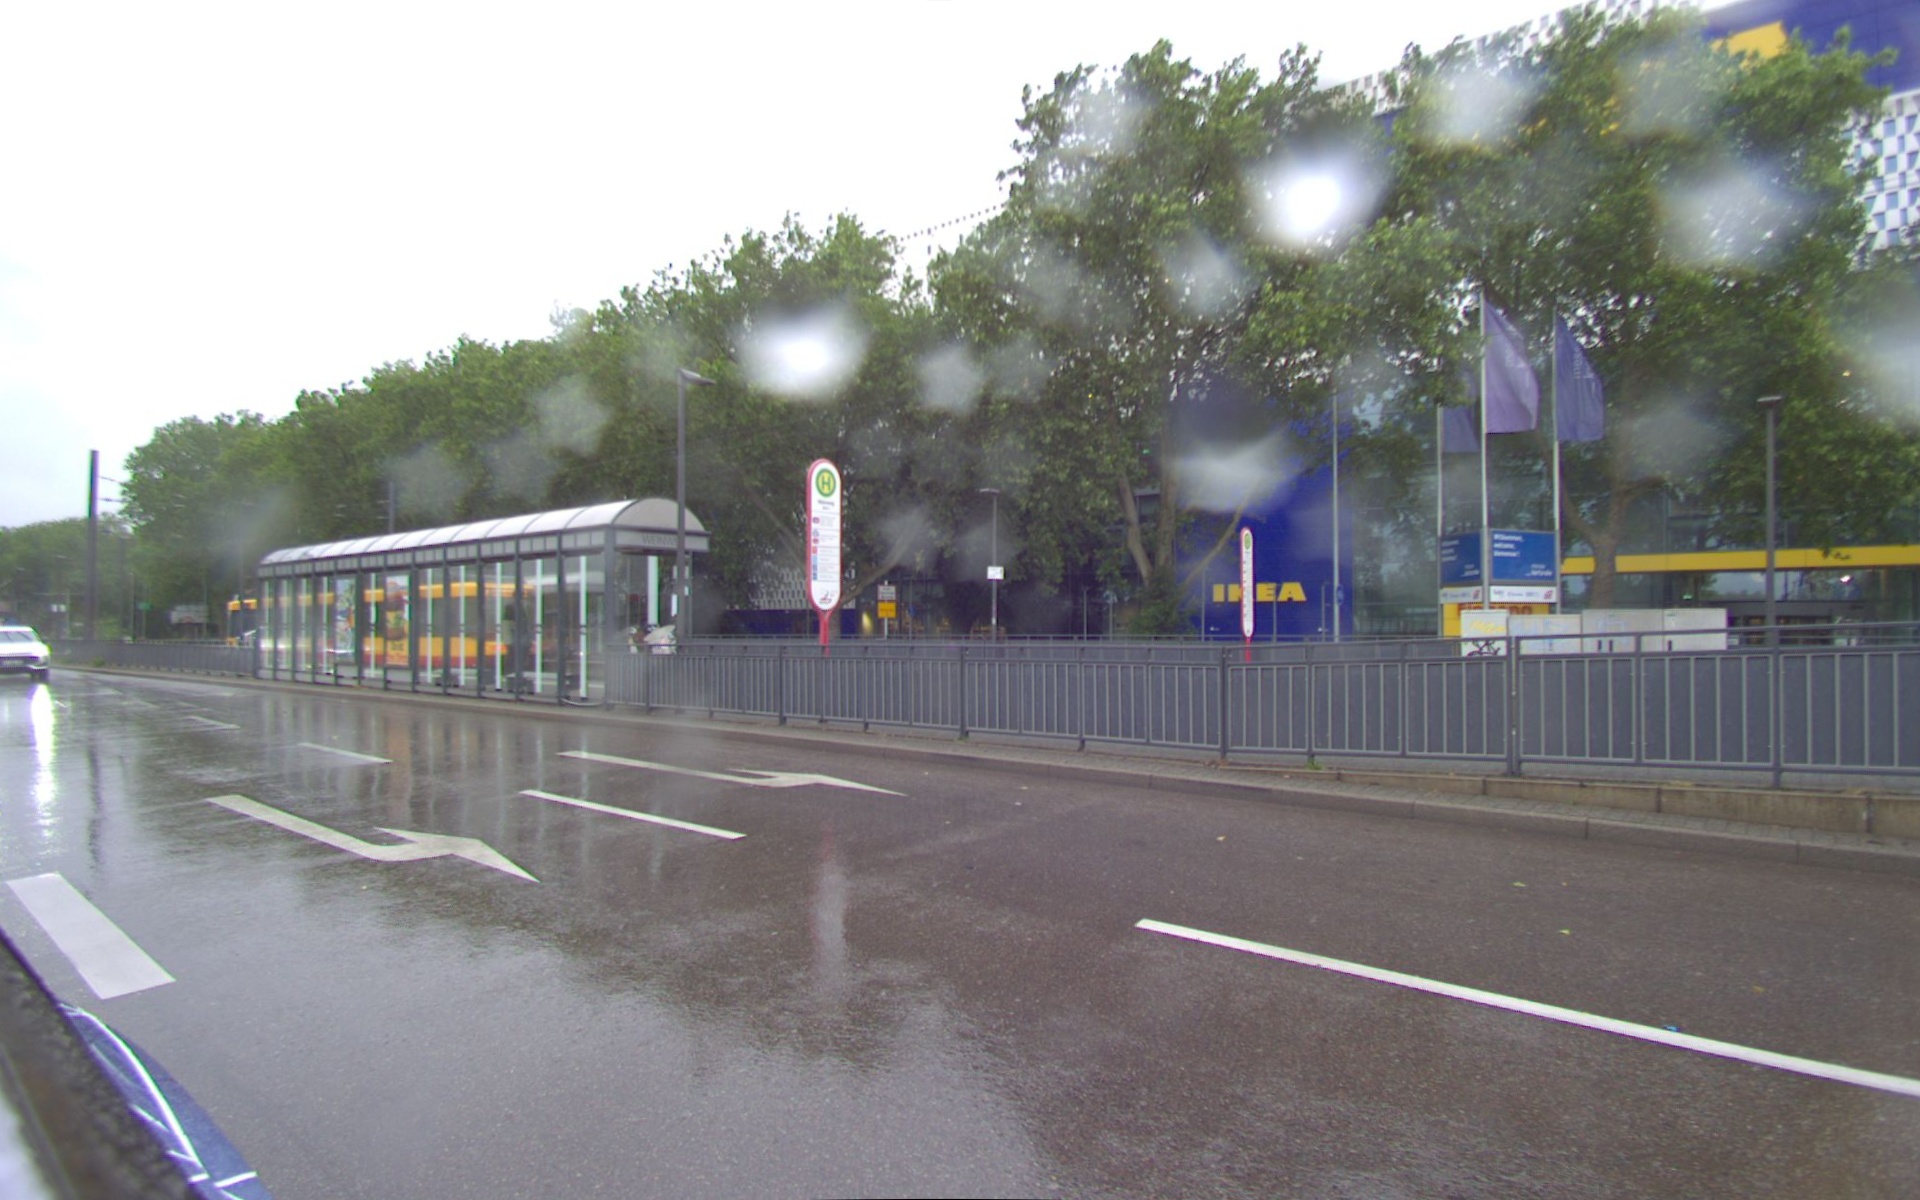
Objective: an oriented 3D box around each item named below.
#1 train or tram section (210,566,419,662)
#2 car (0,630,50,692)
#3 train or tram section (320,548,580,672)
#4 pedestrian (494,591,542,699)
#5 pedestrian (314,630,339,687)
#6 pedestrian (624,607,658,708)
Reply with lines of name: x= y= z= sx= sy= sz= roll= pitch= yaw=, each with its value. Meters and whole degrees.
train or tram section: x=-30.179 y=0.640 z=46.723 sx=15.560 sy=3.827 sz=3.703 roll=-1 pitch=0 yaw=40
car: x=-30.177 y=1.863 z=31.735 sx=4.661 sy=1.788 sz=1.910 roll=-1 pitch=0 yaw=41
train or tram section: x=-19.198 y=0.401 z=37.391 sx=13.245 sy=3.868 sz=3.703 roll=-1 pitch=0 yaw=40
pedestrian: x=-7.963 y=0.790 z=18.222 sx=0.646 sy=1.885 sz=0.774 roll=-1 pitch=0 yaw=-33
pedestrian: x=-14.302 y=1.312 z=22.840 sx=0.451 sy=1.245 sz=0.468 roll=0 pitch=0 yaw=-35
pedestrian: x=-4.842 y=0.857 z=15.359 sx=0.317 sy=1.504 sz=0.416 roll=-2 pitch=1 yaw=-44
